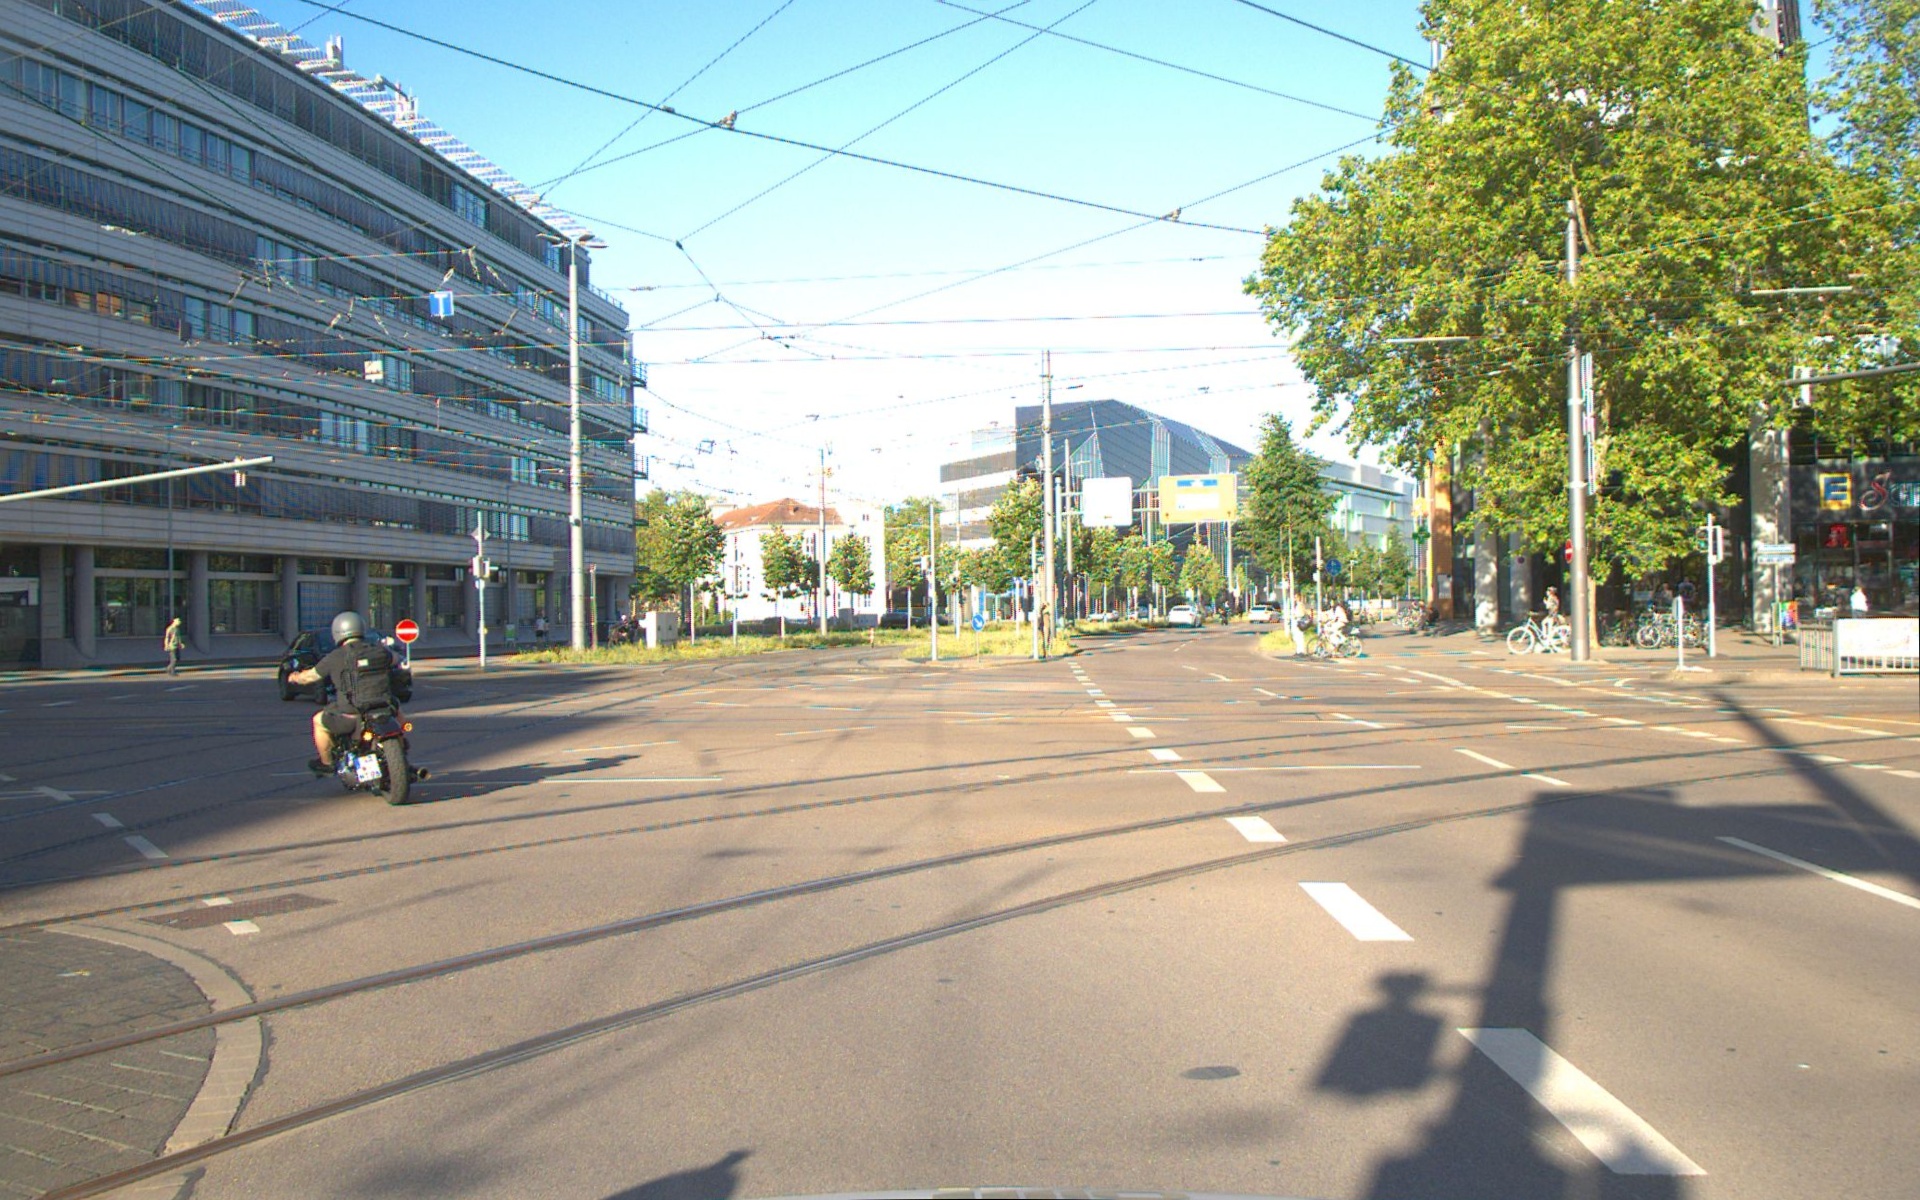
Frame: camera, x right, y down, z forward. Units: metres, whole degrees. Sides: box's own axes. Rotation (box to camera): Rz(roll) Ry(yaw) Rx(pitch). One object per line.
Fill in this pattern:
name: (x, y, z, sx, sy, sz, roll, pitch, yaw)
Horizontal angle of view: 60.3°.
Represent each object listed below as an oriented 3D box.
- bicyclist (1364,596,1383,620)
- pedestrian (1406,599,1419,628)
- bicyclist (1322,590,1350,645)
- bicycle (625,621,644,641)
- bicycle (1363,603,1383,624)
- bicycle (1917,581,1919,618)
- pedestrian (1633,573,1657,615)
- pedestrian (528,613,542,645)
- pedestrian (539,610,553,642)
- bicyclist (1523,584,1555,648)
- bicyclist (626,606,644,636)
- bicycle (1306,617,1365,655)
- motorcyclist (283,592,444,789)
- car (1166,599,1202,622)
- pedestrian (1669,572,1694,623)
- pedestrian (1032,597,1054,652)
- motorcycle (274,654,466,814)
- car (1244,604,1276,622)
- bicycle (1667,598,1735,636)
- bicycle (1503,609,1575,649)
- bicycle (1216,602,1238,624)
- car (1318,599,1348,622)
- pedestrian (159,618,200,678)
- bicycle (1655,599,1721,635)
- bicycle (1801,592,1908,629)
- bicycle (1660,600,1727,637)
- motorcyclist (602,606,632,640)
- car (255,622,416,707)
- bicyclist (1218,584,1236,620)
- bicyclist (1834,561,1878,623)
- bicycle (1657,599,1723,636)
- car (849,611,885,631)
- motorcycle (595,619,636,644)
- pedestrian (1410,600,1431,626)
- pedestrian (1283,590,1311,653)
bicyclist: (24.524, 0.467, 98.070, 1.018, 1.405, 1.565, -1, 0, 11)
pedestrian: (25.651, 0.747, 93.796, 0.690, 1.597, 0.623, -1, 0, 15)
bicyclist: (10.828, 0.505, 47.641, 0.727, 1.529, 0.570, -2, -1, 10)
bicycle: (-18.692, 1.789, 94.975, 0.629, 1.127, 1.686, -1, 0, 3)
bicycle: (24.541, 0.796, 98.370, 1.018, 1.153, 3.183, -1, 0, 11)
bicycle: (29.893, -0.043, 50.249, 0.862, 1.110, 2.915, -1, 1, 42)
pedestrian: (25.464, -0.223, 61.474, 0.761, 1.554, 0.563, -2, -1, 26)
pedestrian: (-24.016, 1.647, 93.438, 0.536, 1.764, 0.642, -1, 0, 7)
pedestrian: (-23.399, 1.465, 93.401, 0.536, 1.764, 0.642, -1, 0, 7)
bicyclist: (16.004, 0.446, 45.713, 0.727, 1.724, 0.570, -2, -1, 12)
bicyclist: (-18.681, 1.228, 95.005, 0.748, 1.696, 0.994, -1, 0, 3)
bicycle: (10.808, 1.031, 47.654, 1.592, 1.039, 0.517, -2, -1, 10)
motorcyclist: (-5.077, 0.723, 14.055, 1.013, 1.579, 1.271, 0, 0, -34)
car: (14.903, 0.692, 109.996, 1.861, 1.534, 4.003, 0, -1, 15)
pedestrian: (27.226, -0.093, 62.427, 0.830, 1.884, 0.809, 1, 0, 23)
pedestrian: (2.489, 0.729, 49.556, 0.643, 1.610, 0.489, -1, 0, 4)
motorcycle: (-5.023, 1.071, 13.964, 0.997, 1.145, 2.295, 0, 0, -34)
car: (24.660, 1.031, 135.936, 1.973, 1.400, 4.040, -1, 0, 18)
bicycle: (20.577, 0.475, 45.945, 1.669, 1.003, 0.391, -1, 0, 15)
bicycle: (15.991, 0.797, 45.704, 1.813, 1.039, 0.517, -2, -1, 12)
bicycle: (20.208, 0.997, 125.051, 0.995, 1.607, 3.575, -1, 0, 20)
car: (30.709, 0.881, 136.235, 2.010, 1.906, 4.228, 0, -1, 18)
pedestrian: (-24.455, 1.496, 51.836, 0.864, 1.855, 0.677, -2, -1, 6)
bicycle: (20.984, 0.482, 47.696, 1.669, 1.003, 0.391, -1, 0, 15)
bicycle: (28.855, 0.333, 53.402, 2.982, 1.133, 0.834, -1, 0, 28)
bicycle: (20.753, 0.515, 46.788, 1.669, 1.003, 0.391, -1, 0, 15)
motorcyclist: (-17.939, 1.192, 86.555, 0.997, 1.761, 1.462, -1, -1, 12)
car: (-12.400, 1.223, 32.707, 1.779, 1.491, 4.251, -2, 0, -38)
bicyclist: (20.191, 0.124, 125.003, 0.995, 2.670, 1.472, -1, 0, 20)
bicyclist: (28.901, -0.247, 53.380, 1.203, 1.965, 0.834, -1, 0, 28)
bicycle: (20.862, 0.499, 47.277, 1.669, 1.003, 0.391, -1, 0, 15)
car: (-9.817, 2.182, 173.966, 1.977, 2.049, 3.951, -1, 0, -35)
motorcycle: (-17.970, 1.625, 86.445, 0.962, 1.253, 2.945, -1, 0, 12)
pedestrian: (19.790, 0.547, 71.079, 0.768, 1.075, 0.814, -1, 0, 23)
pedestrian: (10.168, 0.645, 49.859, 0.688, 1.869, 0.513, -1, -1, 36)
